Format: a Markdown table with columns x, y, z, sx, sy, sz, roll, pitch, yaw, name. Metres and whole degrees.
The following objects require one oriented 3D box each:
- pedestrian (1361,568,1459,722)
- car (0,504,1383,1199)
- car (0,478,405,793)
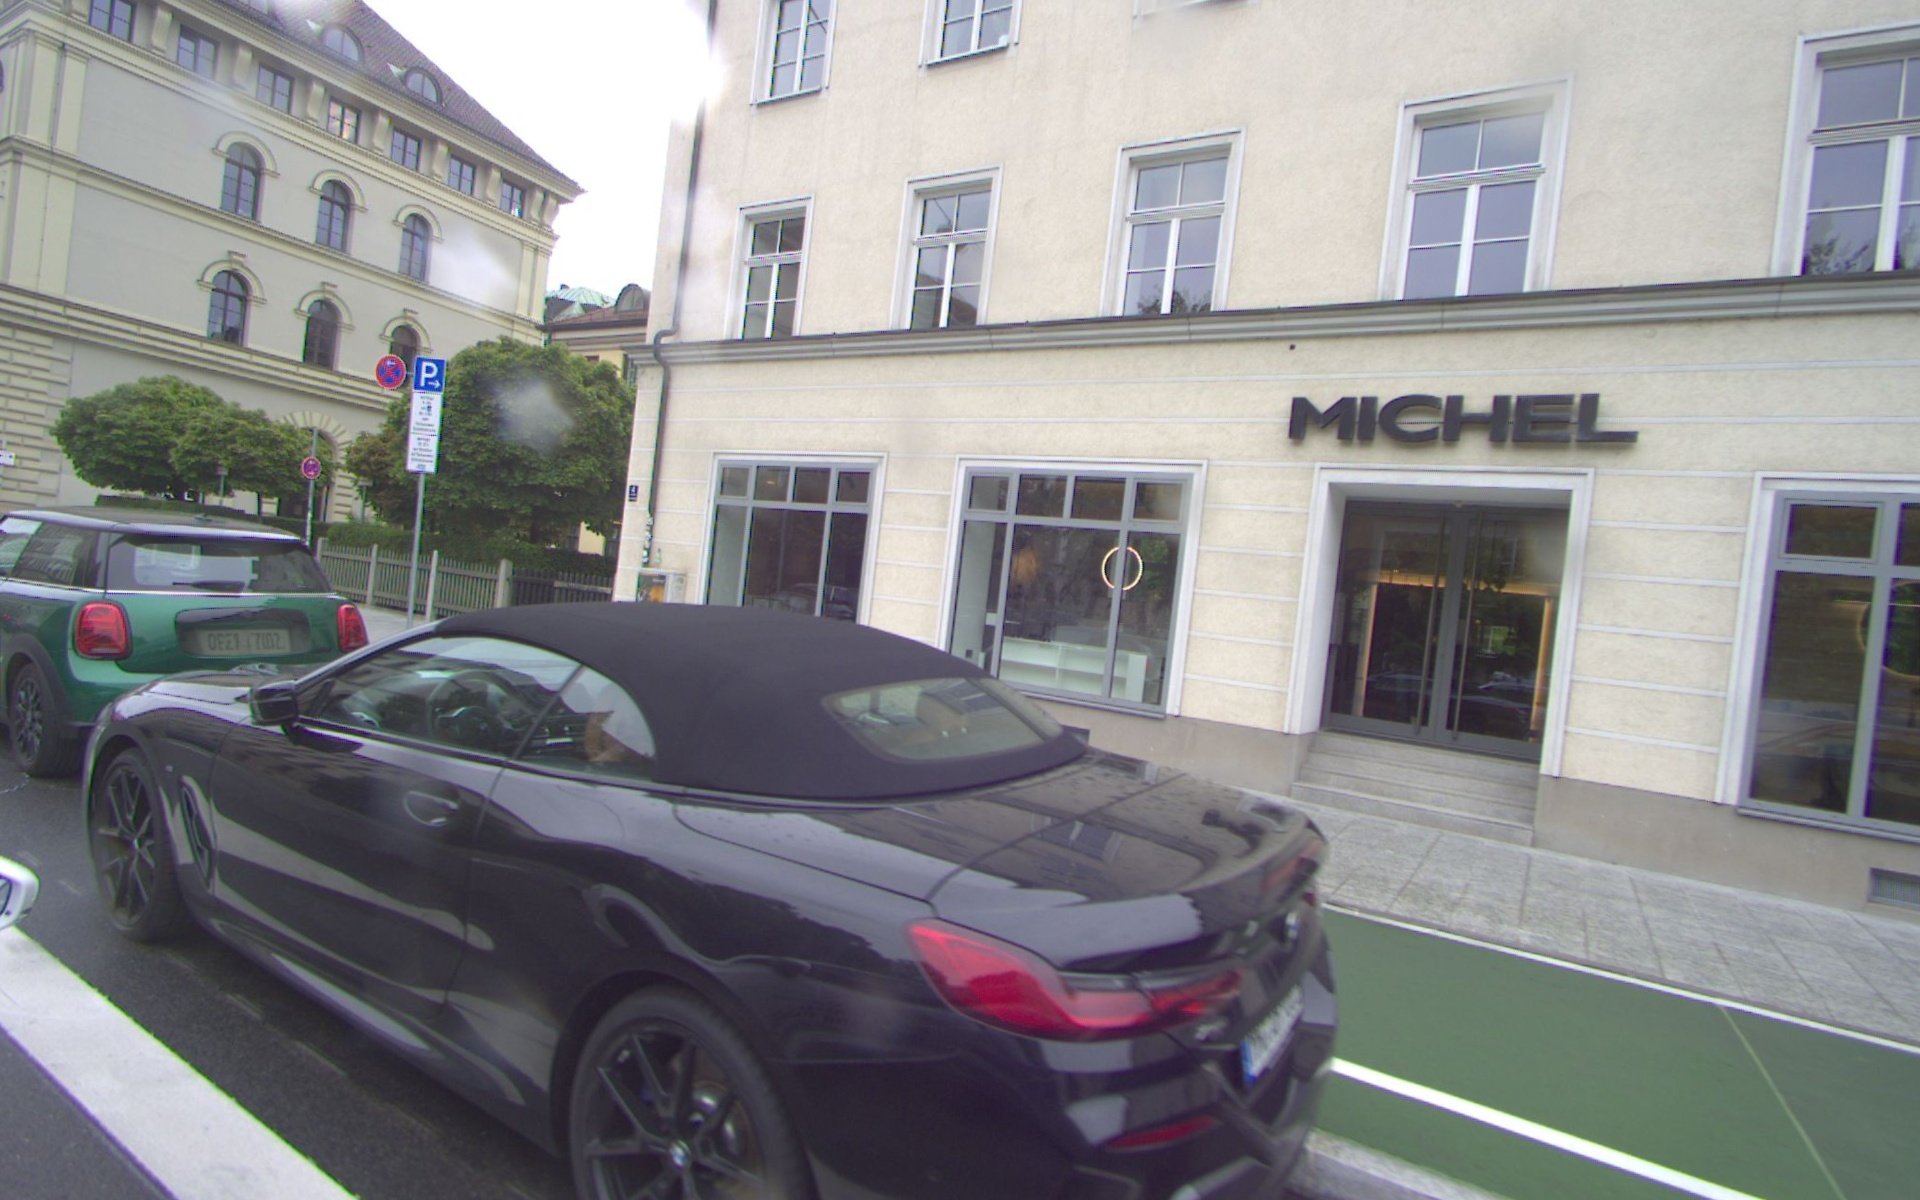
| x | y | z | sx | sy | sz | roll | pitch | yaw | name |
| --- | --- | --- | --- | --- | --- | --- | --- | --- | --- |
| 5.415 | 0.538 | 12.093 | 0.768 | 1.710 | 0.859 | 7 | 1 | 33 | pedestrian |
| -1.267 | 0.647 | 3.441 | 4.643 | 1.424 | 1.828 | 7 | -1 | 33 | car |
| -5.634 | 0.089 | 6.725 | 3.767 | 1.538 | 1.677 | 7 | -1 | 33 | car |
